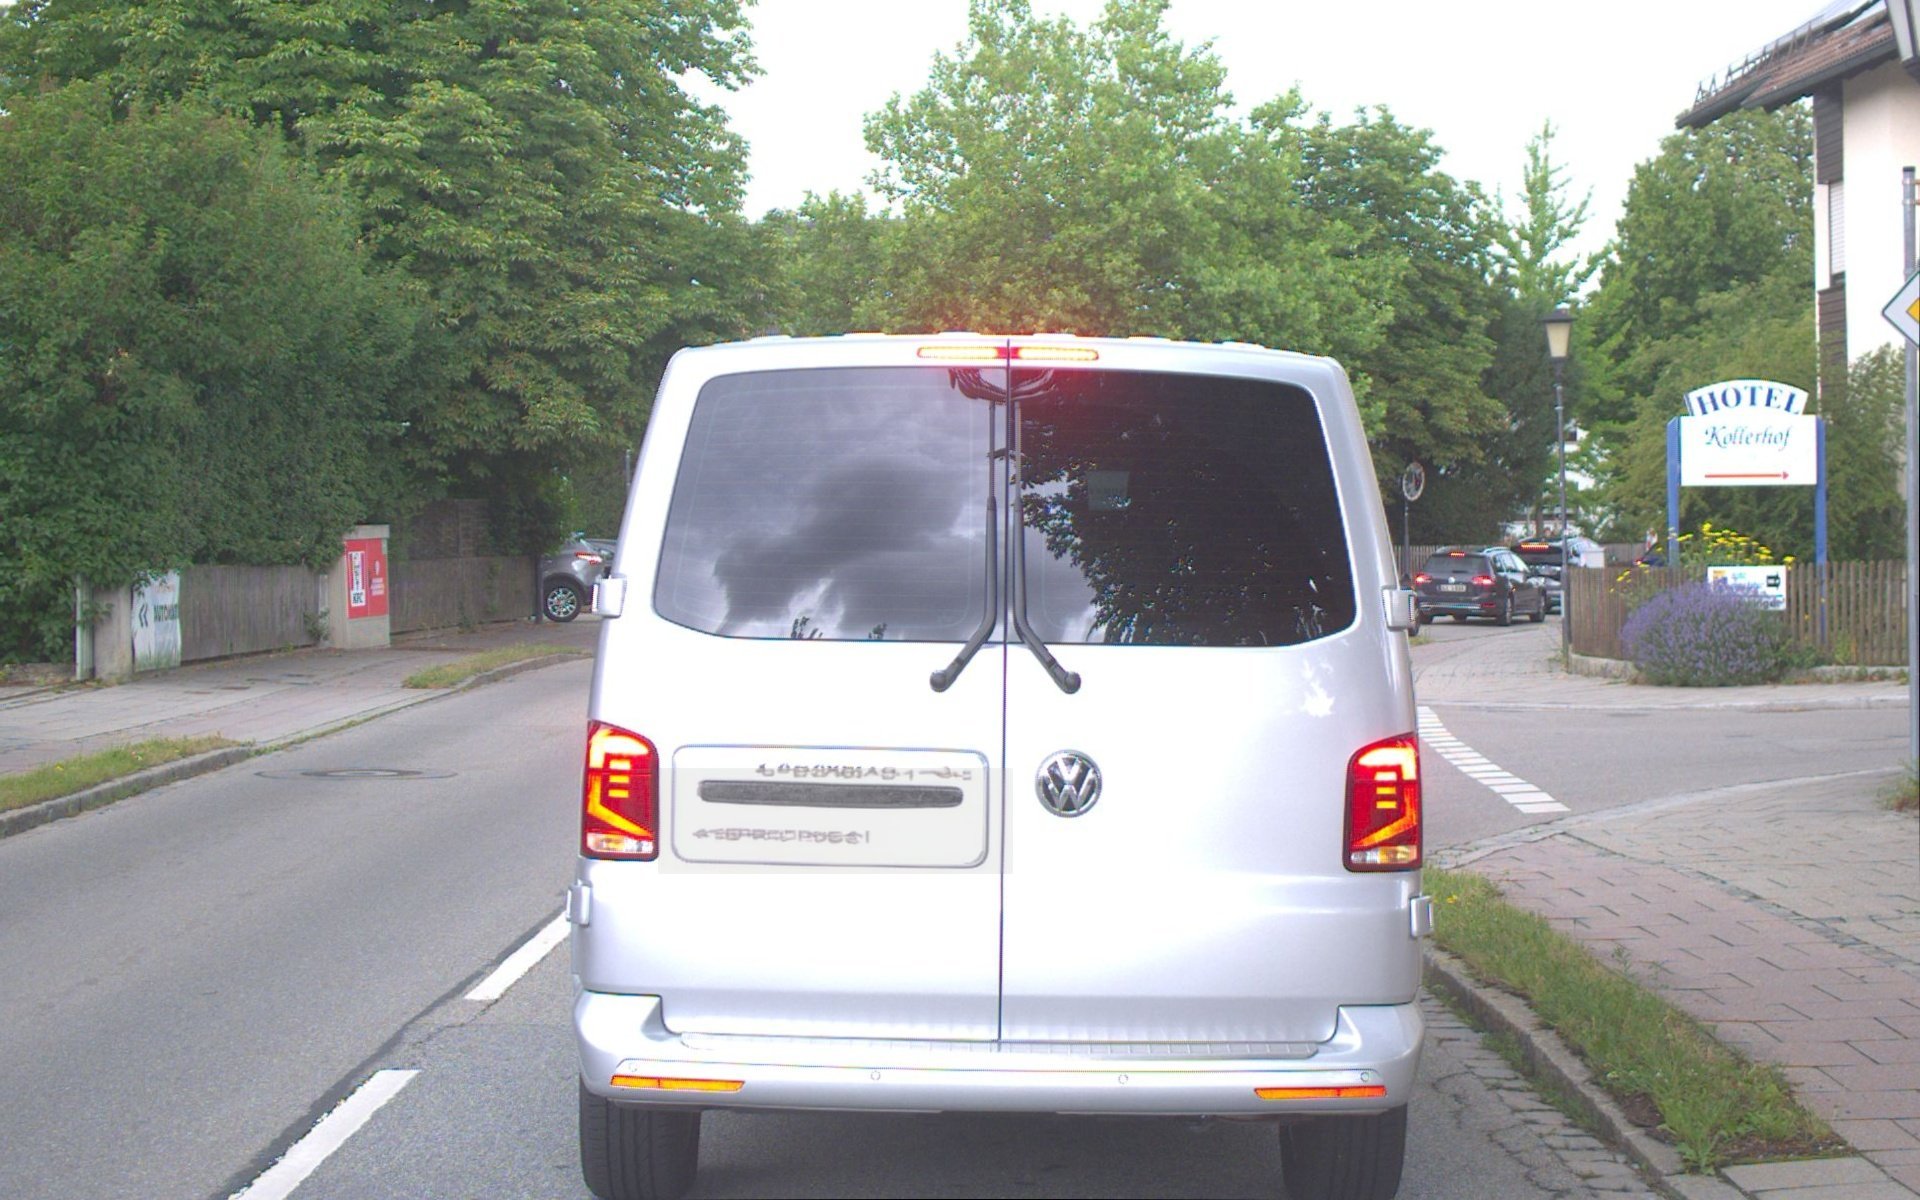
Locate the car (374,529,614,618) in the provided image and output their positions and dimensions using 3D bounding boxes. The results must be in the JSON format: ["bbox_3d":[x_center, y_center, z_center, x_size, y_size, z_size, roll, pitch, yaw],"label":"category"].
[{"bbox_3d":[-7.938,-0.470,58.586,3.986,1.481,2.001,0,1,-8],"label":"car"}]

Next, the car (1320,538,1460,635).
[{"bbox_3d":[7.156,-0.244,56.935,1.882,1.530,3.918,0,1,13],"label":"car"}]

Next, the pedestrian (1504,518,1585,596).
[{"bbox_3d":[15.035,-1.112,88.471,1.359,2.007,1.520,-1,1,-39],"label":"pedestrian"}]

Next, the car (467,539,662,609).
[{"bbox_3d":[-7.904,-0.534,68.625,3.749,1.341,1.584,-1,1,-10],"label":"car"}]

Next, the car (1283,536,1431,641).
[{"bbox_3d":[6.048,-0.200,52.036,1.882,1.530,3.919,0,1,12],"label":"car"}]

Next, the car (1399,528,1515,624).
[{"bbox_3d":[9.478,-0.479,65.350,1.882,1.742,4.078,-1,1,12],"label":"car"}]

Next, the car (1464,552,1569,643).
[{"bbox_3d":[11.717,-0.077,72.202,1.882,1.819,3.918,0,1,13],"label":"car"}]

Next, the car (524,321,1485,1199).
[{"bbox_3d":[0.094,0.390,8.738,1.881,1.934,3.921,0,1,0],"label":"car"}]
